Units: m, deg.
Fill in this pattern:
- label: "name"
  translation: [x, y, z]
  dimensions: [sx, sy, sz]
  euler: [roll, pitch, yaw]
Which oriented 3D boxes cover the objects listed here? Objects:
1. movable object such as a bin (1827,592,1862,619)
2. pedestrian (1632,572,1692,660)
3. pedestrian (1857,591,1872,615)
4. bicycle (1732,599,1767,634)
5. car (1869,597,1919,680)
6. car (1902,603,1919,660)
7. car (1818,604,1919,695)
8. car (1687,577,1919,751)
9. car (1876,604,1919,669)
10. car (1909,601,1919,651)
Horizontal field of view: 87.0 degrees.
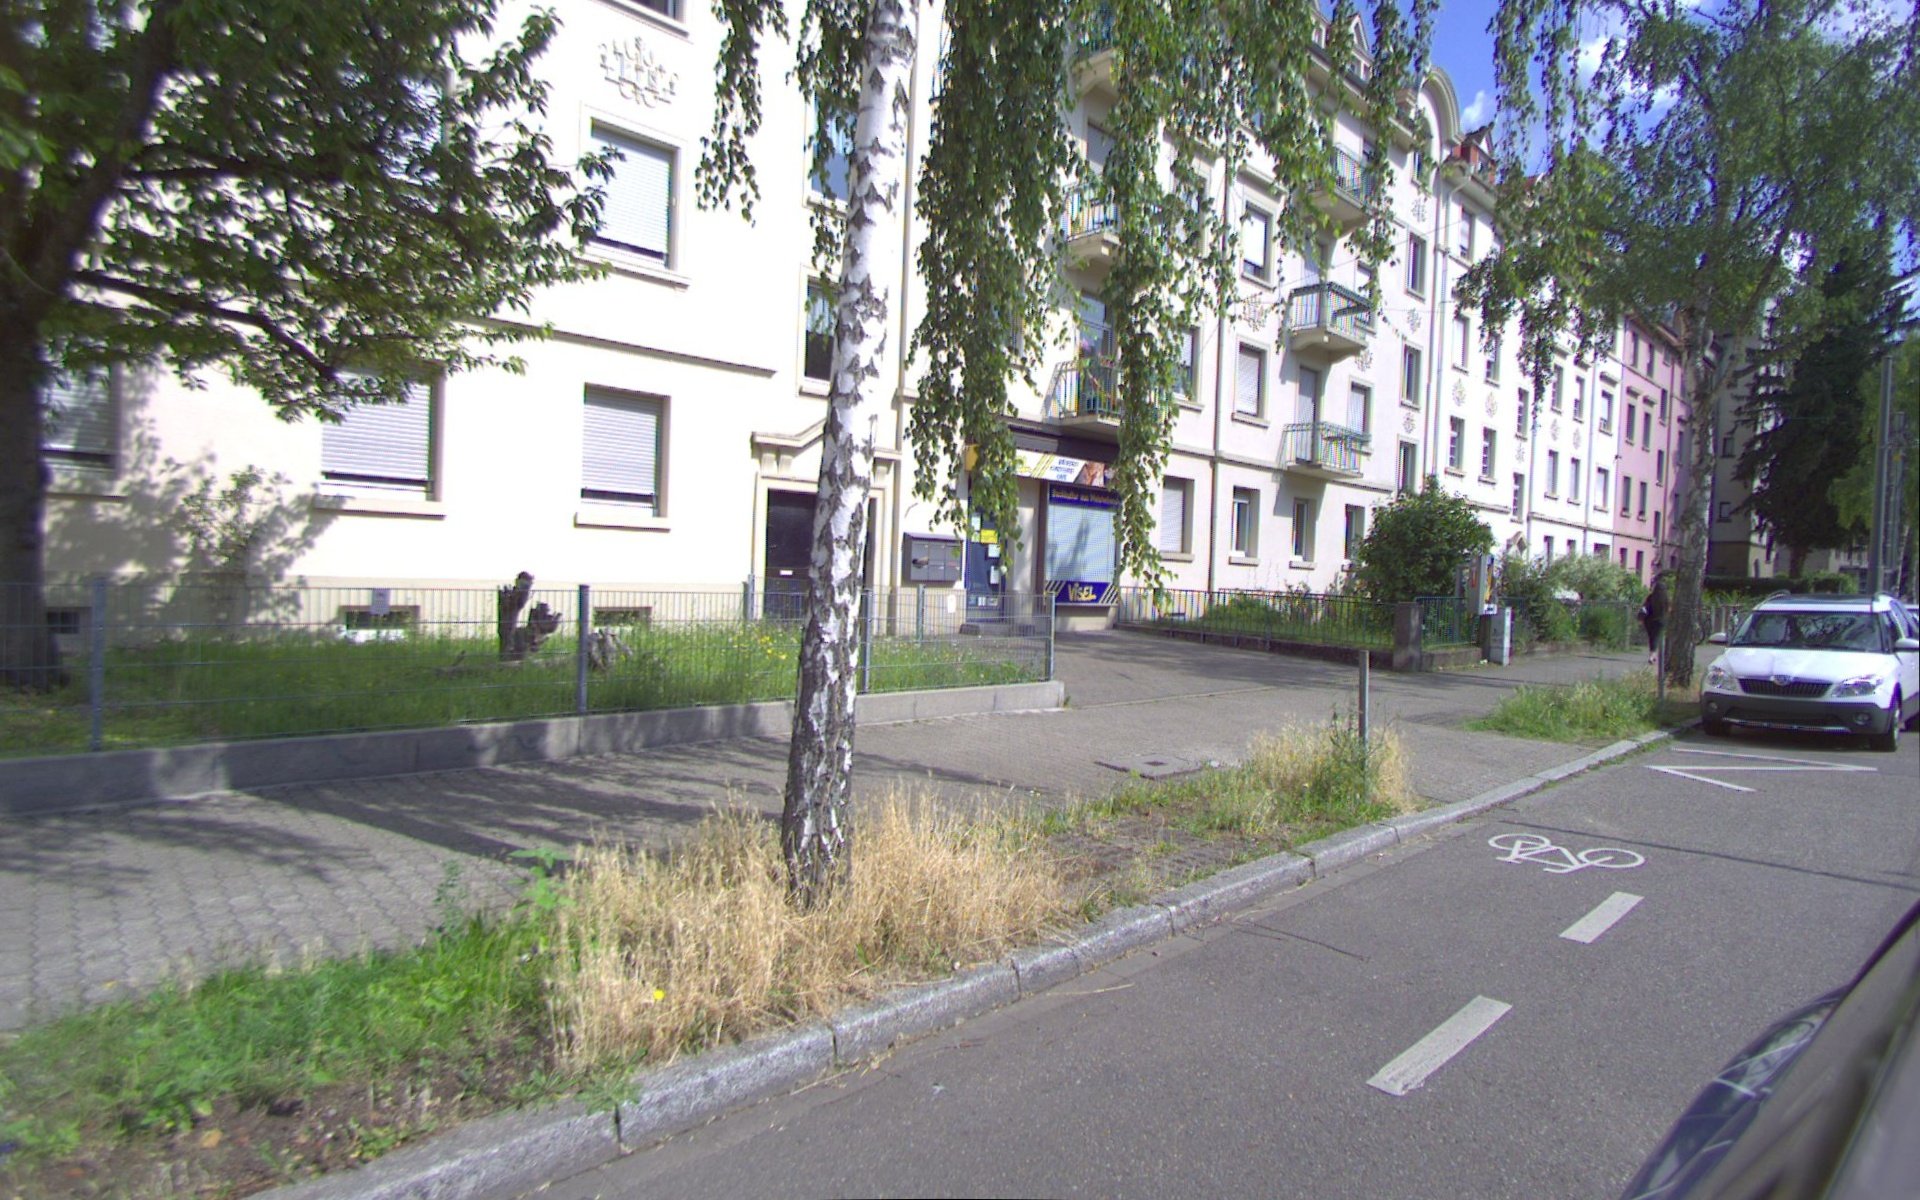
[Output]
- label: "movable object such as a bin"
  translation: [52.658, 0.330, 60.226]
  dimensions: [1.966, 1.510, 1.304]
  euler: [1, 2, -42]
- label: "pedestrian"
  translation: [14.330, 0.311, 20.652]
  dimensions: [0.678, 1.703, 0.732]
  euler: [1, 4, -39]
- label: "pedestrian"
  translation: [72.316, 0.229, 80.919]
  dimensions: [0.731, 1.865, 0.798]
  euler: [2, 2, 32]
- label: "bicycle"
  translation: [25.692, 0.529, 32.938]
  dimensions: [2.145, 1.090, 0.472]
  euler: [1, 2, -42]
- label: "car"
  translation: [19.765, 0.747, 20.714]
  dimensions: [3.697, 1.599, 1.494]
  euler: [0, 0, -44]
- label: "car"
  translation: [26.646, 0.819, 27.244]
  dimensions: [3.852, 1.471, 1.621]
  euler: [0, -1, -43]
- label: "car"
  translation: [16.183, 0.786, 17.503]
  dimensions: [3.732, 1.435, 1.674]
  euler: [0, 0, -44]
- label: "car"
  translation: [9.924, 0.608, 11.581]
  dimensions: [3.929, 1.650, 1.724]
  euler: [0, 0, -40]
- label: "car"
  translation: [23.343, 0.837, 24.357]
  dimensions: [3.779, 1.471, 1.590]
  euler: [0, -1, -43]
- label: "car"
  translation: [31.348, 0.803, 31.934]
  dimensions: [4.450, 1.540, 1.793]
  euler: [1, 0, -44]
